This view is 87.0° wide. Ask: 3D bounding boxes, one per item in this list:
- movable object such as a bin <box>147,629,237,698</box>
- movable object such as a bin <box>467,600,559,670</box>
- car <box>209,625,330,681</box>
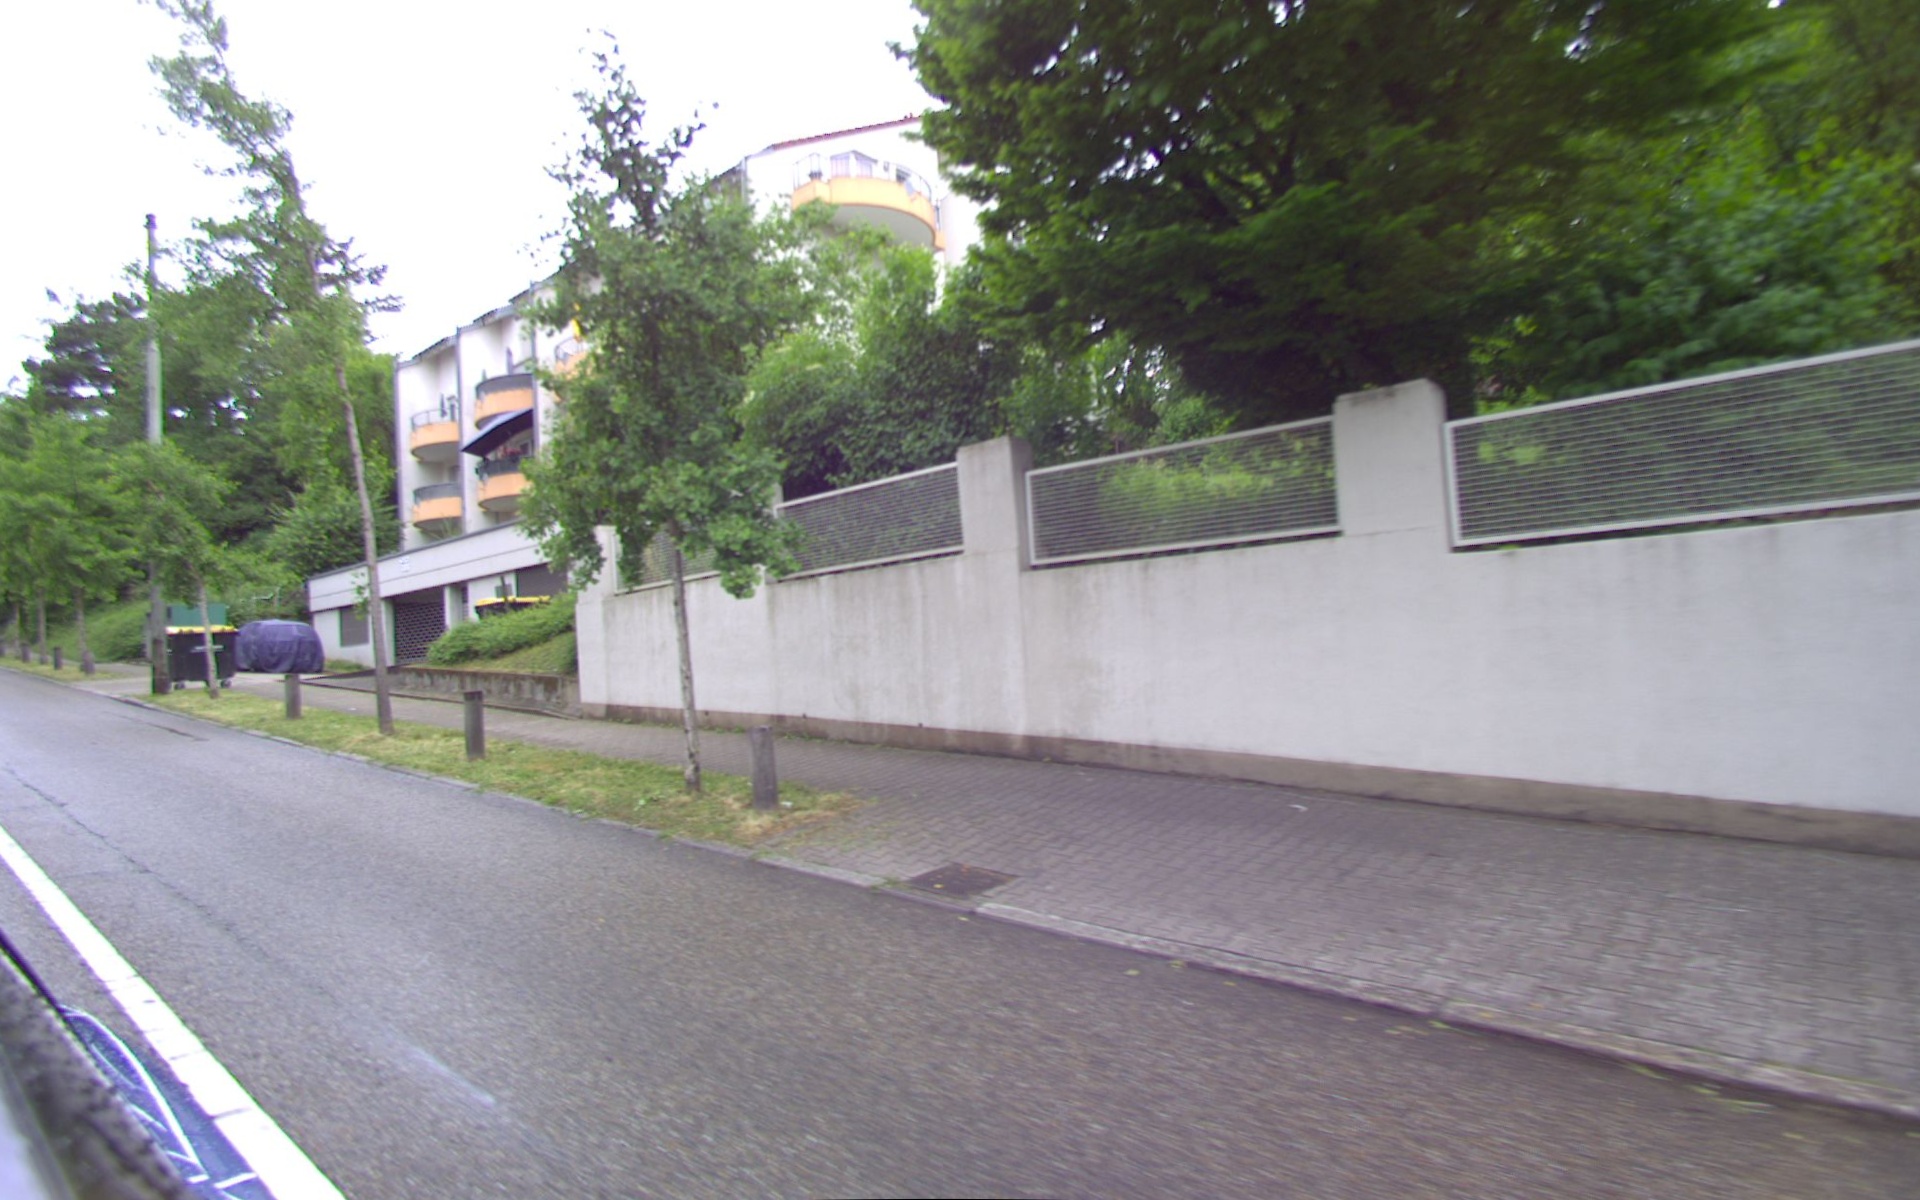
[{"bbox_3d":[-16.124,1.314,21.265,1.120,1.360,1.213,-1,-1,33],"label":"movable object such as a bin"},{"bbox_3d":[-9.116,0.708,20.668,1.159,1.325,1.252,-5,-3,33],"label":"movable object such as a bin"},{"bbox_3d":[-20.167,1.543,29.518,3.862,1.503,1.832,-2,-5,39],"label":"car"}]
